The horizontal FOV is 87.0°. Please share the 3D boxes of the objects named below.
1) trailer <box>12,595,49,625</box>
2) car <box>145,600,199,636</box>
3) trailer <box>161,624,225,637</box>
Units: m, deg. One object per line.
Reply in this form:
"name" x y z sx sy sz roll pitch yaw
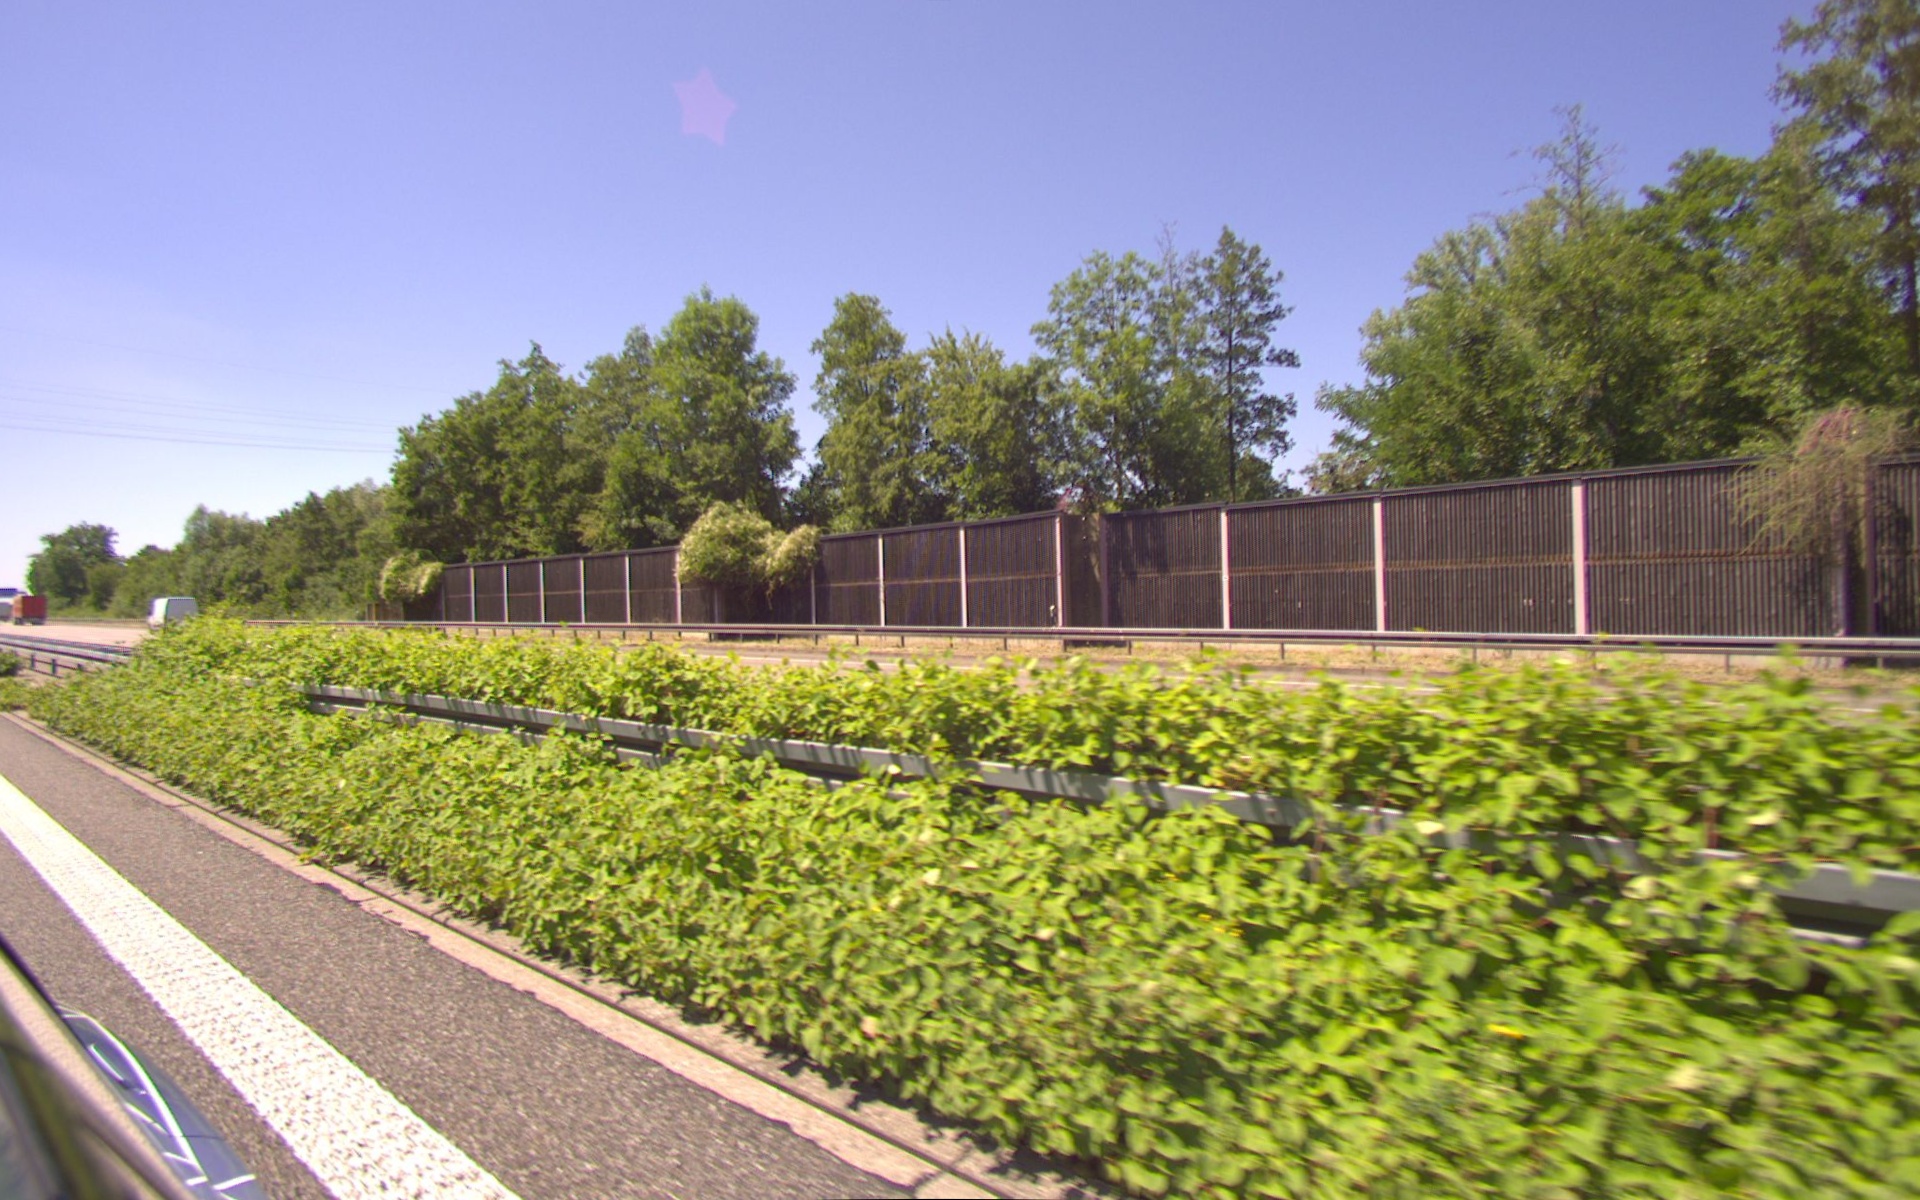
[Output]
"trailer" -129.076 1.444 140.410 14.050 4.098 2.655 -1 -1 43
"car" -54.763 1.248 70.280 5.411 2.449 2.002 -1 -1 42
"trailer" -50.337 1.973 66.356 6.278 0.813 2.139 -1 -1 41
